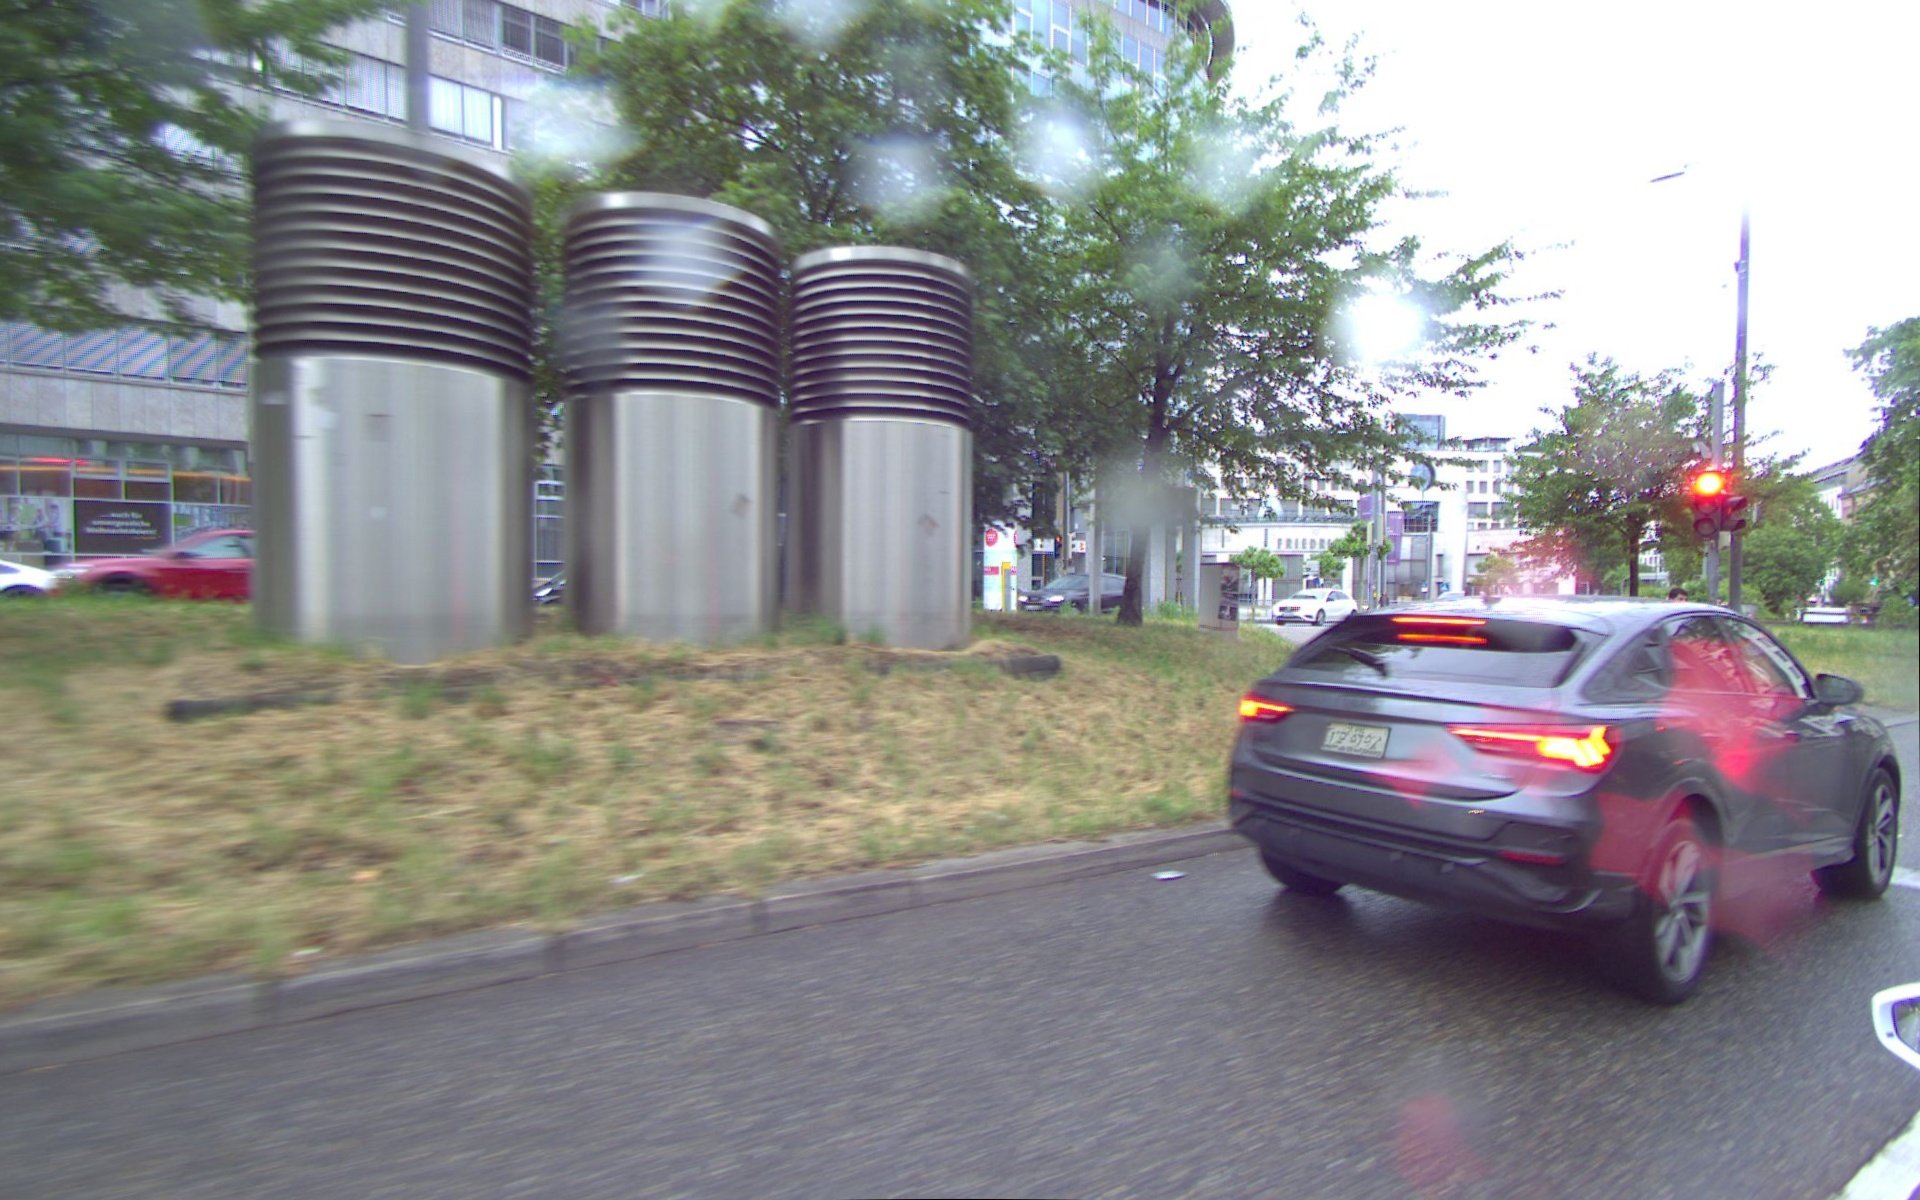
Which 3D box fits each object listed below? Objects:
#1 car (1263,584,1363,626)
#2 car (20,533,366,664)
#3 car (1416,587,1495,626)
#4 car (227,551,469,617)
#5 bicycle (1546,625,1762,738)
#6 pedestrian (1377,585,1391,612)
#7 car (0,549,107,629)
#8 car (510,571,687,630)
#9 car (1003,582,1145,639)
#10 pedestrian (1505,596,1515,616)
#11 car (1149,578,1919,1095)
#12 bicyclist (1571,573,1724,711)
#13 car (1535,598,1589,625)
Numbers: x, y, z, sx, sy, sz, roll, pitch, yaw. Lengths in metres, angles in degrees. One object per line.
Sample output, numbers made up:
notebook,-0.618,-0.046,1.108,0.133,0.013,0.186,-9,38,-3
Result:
car,13.610,0.196,38.630,4.160,1.495,1.804,1,1,-41
car,-11.462,-0.024,15.229,3.968,1.723,1.928,1,1,-41
car,23.728,0.320,48.041,4.546,1.750,1.709,1,1,-41
car,-13.614,-0.325,22.478,4.438,1.343,1.877,1,1,-39
bicycle,8.631,0.977,12.636,0.994,1.129,2.062,2,2,-12
pedestrian,28.592,-0.073,67.697,0.613,1.786,0.721,-2,-2,45
car,-18.281,-0.207,17.816,4.638,1.420,1.764,0,1,-36
car,-9.329,0.003,26.035,3.979,1.420,1.762,0,1,-38
car,3.321,0.295,28.842,3.968,1.495,1.851,1,1,-41
pedestrian,55.319,0.609,100.958,0.777,2.041,0.739,3,2,29
car,3.146,0.751,5.157,4.208,1.638,1.836,0,2,-34
bicyclist,8.643,0.502,12.680,0.997,1.603,1.133,2,3,-12
car,36.706,0.718,61.238,3.972,1.506,1.787,1,2,-44
